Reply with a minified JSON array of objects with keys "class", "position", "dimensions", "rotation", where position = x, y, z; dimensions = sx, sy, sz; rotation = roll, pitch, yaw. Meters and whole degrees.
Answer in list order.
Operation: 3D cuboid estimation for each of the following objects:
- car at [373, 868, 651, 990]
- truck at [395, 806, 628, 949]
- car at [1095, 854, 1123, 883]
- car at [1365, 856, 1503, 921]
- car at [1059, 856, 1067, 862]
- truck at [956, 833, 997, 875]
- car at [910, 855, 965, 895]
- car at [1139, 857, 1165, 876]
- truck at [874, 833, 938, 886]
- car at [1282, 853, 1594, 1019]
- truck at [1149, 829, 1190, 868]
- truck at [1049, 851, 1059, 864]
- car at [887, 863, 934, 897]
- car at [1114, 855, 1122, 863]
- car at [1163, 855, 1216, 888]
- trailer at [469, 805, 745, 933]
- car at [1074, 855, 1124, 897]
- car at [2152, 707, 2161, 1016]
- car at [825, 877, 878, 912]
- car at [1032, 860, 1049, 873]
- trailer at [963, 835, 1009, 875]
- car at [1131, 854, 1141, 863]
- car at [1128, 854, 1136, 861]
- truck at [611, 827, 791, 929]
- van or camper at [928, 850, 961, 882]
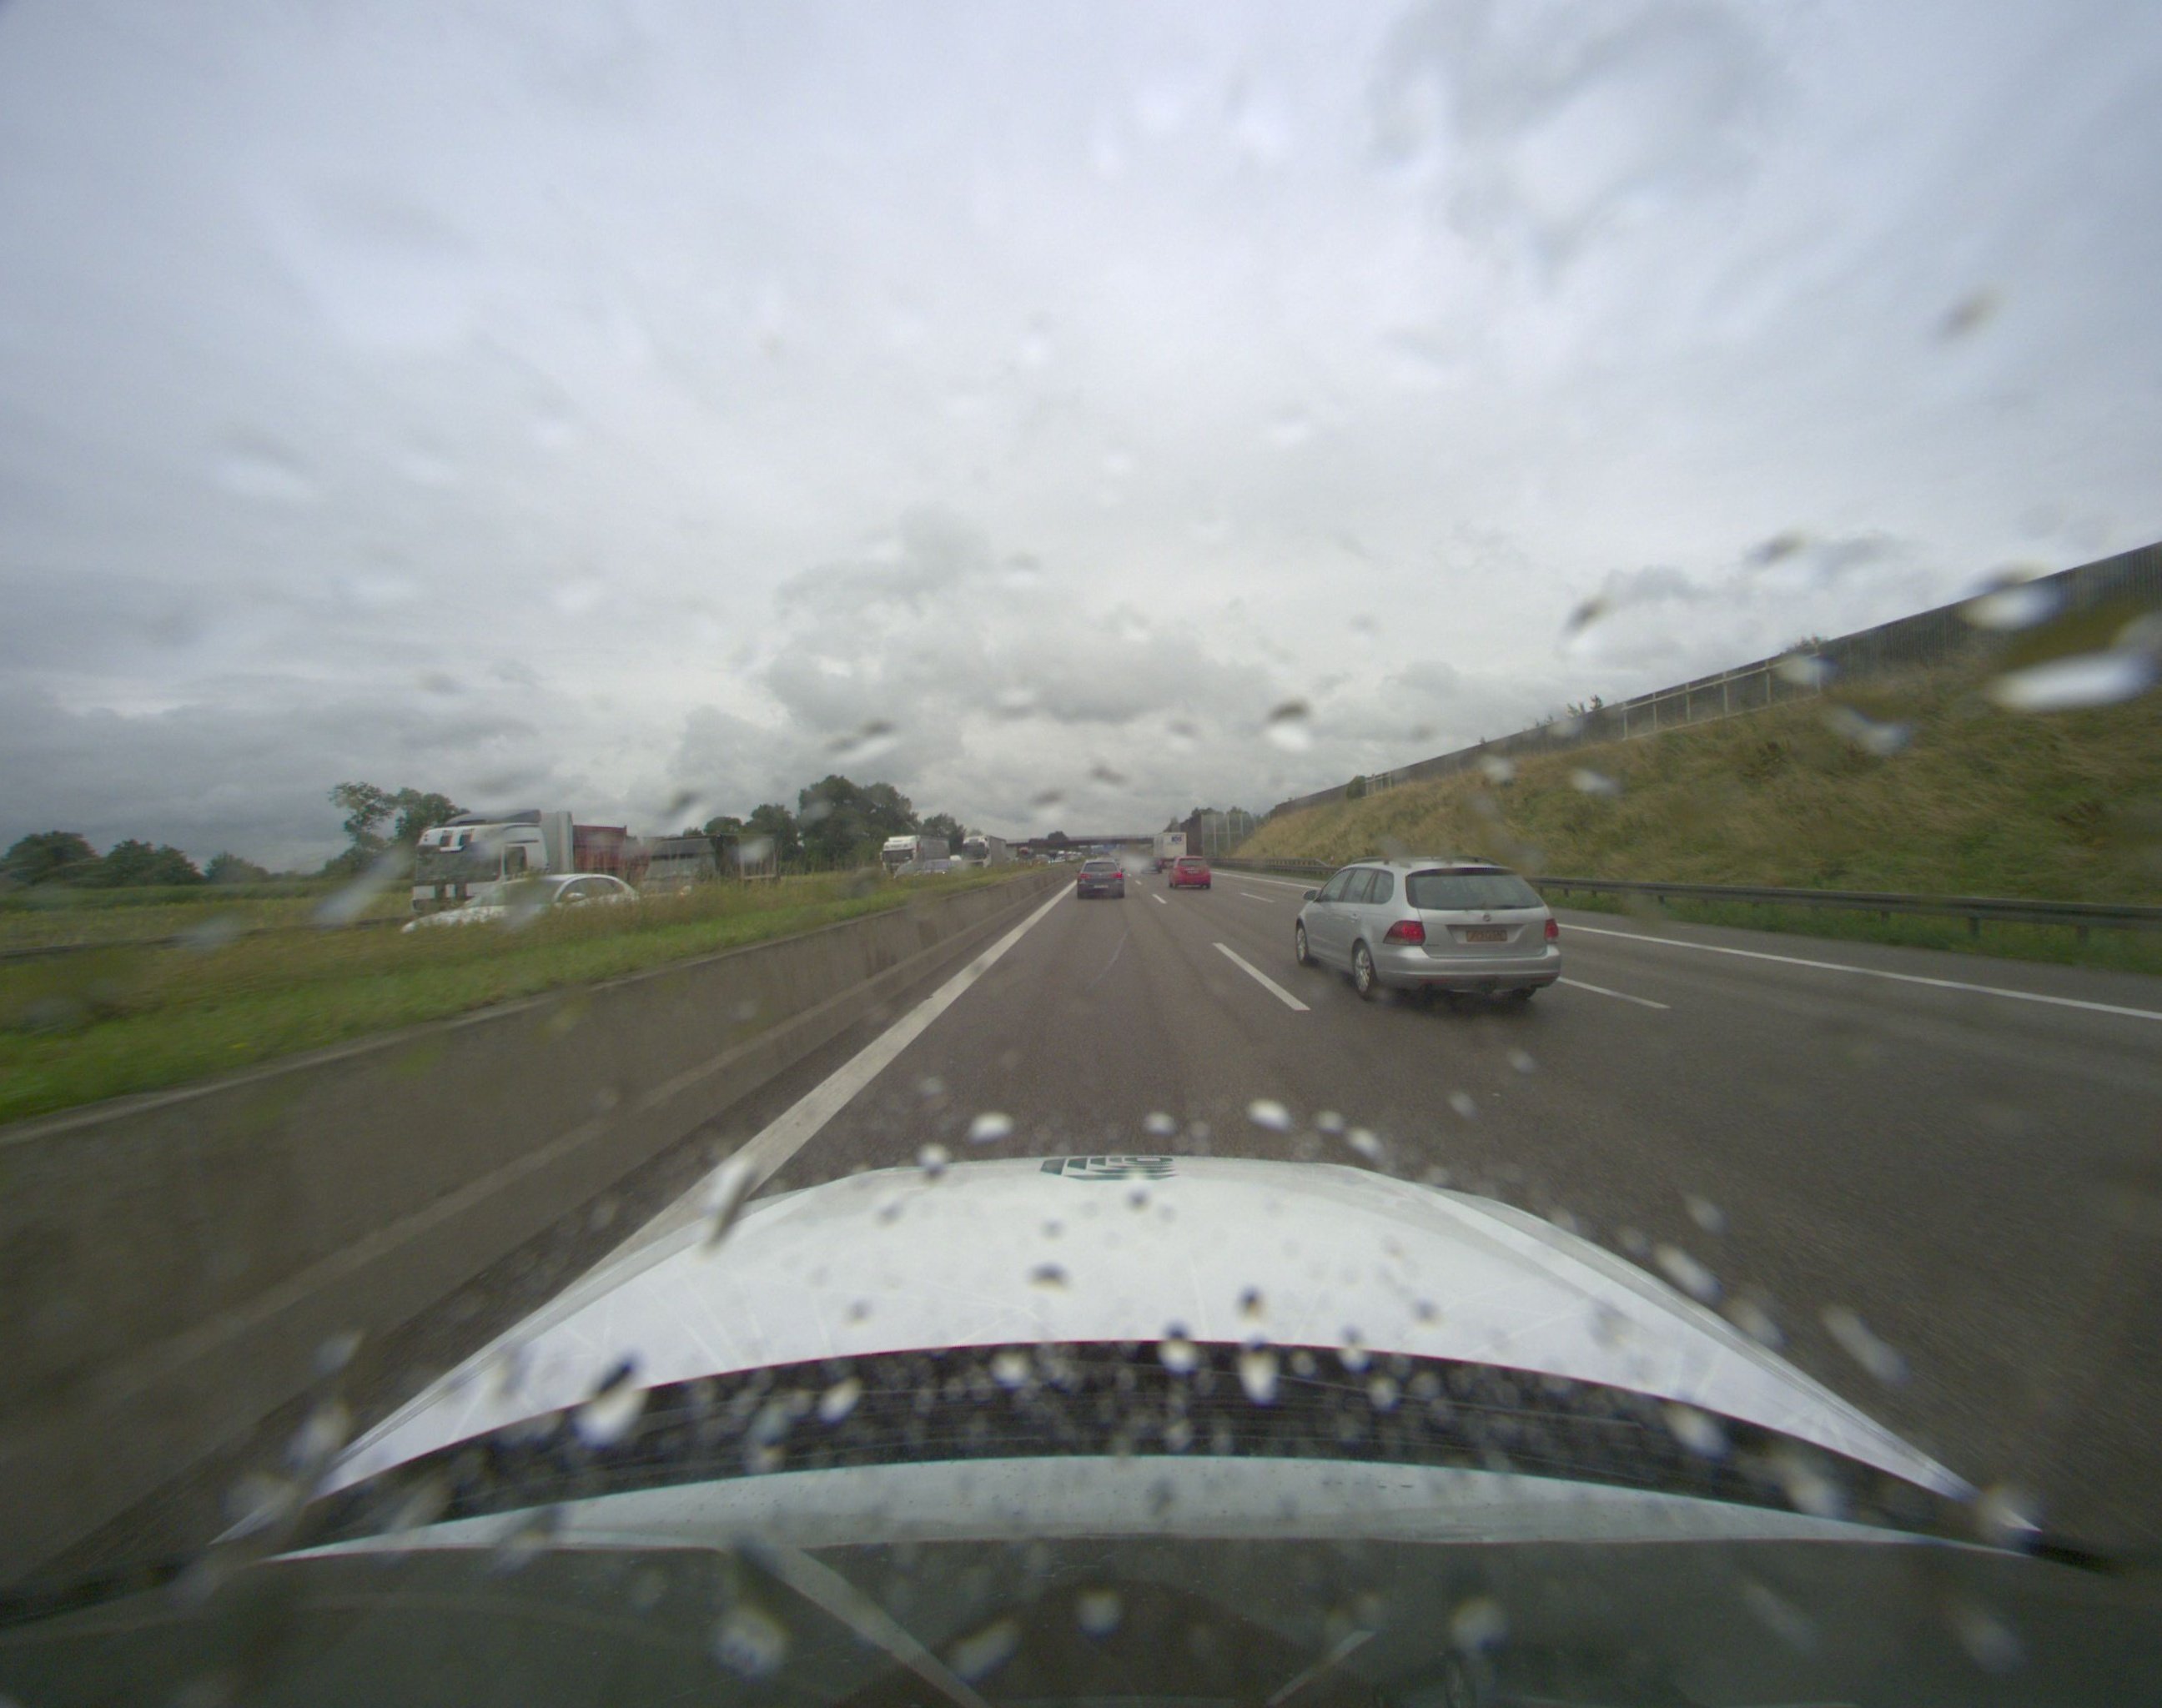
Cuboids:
[{"class":"car","position":[-9.265,1.118,13.757],"dimensions":[1.774,1.717,4.001],"rotation":[0,-1,2]},{"class":"truck","position":[-16.582,0.579,24.318],"dimensions":[2.631,3.725,5.874],"rotation":[0,1,2]},{"class":"car","position":[1.935,0.999,56.890],"dimensions":[1.819,1.850,4.001],"rotation":[-2,0,1]},{"class":"car","position":[8.282,0.767,19.505],"dimensions":[1.696,1.401,3.876],"rotation":[0,-1,1]},{"class":"car","position":[-5.285,1.437,243.538],"dimensions":[2.085,1.710,4.803],"rotation":[-1,0,3]},{"class":"truck","position":[-10.412,0.033,81.977],"dimensions":[3.081,3.976,6.374],"rotation":[0,-1,2]},{"class":"car","position":[-7.813,1.090,44.817],"dimensions":[1.986,2.013,4.802],"rotation":[-2,0,2]},{"class":"car","position":[6.075,1.020,69.889],"dimensions":[1.914,1.522,4.623],"rotation":[-1,0,1]},{"class":"truck","position":[-14.899,0.494,69.834],"dimensions":[3.602,4.275,7.594],"rotation":[0,-1,2]},{"class":"car","position":[3.758,0.743,9.558],"dimensions":[1.735,1.425,4.518],"rotation":[-2,0,1]},{"class":"truck","position":[10.448,-0.522,98.398],"dimensions":[3.271,4.295,19.037],"rotation":[0,-1,1]},{"class":"truck","position":[-8.383,1.170,255.288],"dimensions":[2.747,4.050,6.257],"rotation":[0,-1,2]},{"class":"car","position":[-11.148,1.692,53.573],"dimensions":[1.986,2.013,4.362],"rotation":[-2,0,2]},{"class":"car","position":[10.431,1.392,229.089],"dimensions":[1.986,2.014,4.243],"rotation":[0,-1,2]},{"class":"car","position":[5.052,0.784,38.493],"dimensions":[1.884,1.446,4.685],"rotation":[-1,0,1]},{"class":"trailer","position":[-16.425,0.350,29.991],"dimensions":[2.631,3.725,12.199],"rotation":[0,1,2]},{"class":"car","position":[0.688,0.799,30.721],"dimensions":[1.762,1.467,4.001],"rotation":[0,-1,1]},{"class":"car","position":[7.870,0.190,2.148],"dimensions":[2.077,2.315,6.185],"rotation":[-1,0,2]},{"class":"car","position":[-15.088,2.610,53.764],"dimensions":[1.986,2.013,4.623],"rotation":[-2,0,2]},{"class":"car","position":[-5.945,1.869,119.657],"dimensions":[1.986,1.764,5.073],"rotation":[-3,0,1]},{"class":"trailer","position":[-10.180,0.151,88.546],"dimensions":[3.074,4.089,12.334],"rotation":[0,-1,2]},{"class":"car","position":[11.062,0.959,163.163],"dimensions":[1.839,1.687,4.000],"rotation":[0,-1,1]},{"class":"car","position":[14.268,0.882,226.287],"dimensions":[1.986,1.812,4.229],"rotation":[-3,0,2]},{"class":"truck","position":[-12.277,0.734,27.200],"dimensions":[2.303,2.908,7.427],"rotation":[0,-1,2]},{"class":"van or camper","position":[-16.036,1.398,96.148],"dimensions":[2.700,3.503,7.697],"rotation":[0,-1,-1]}]
